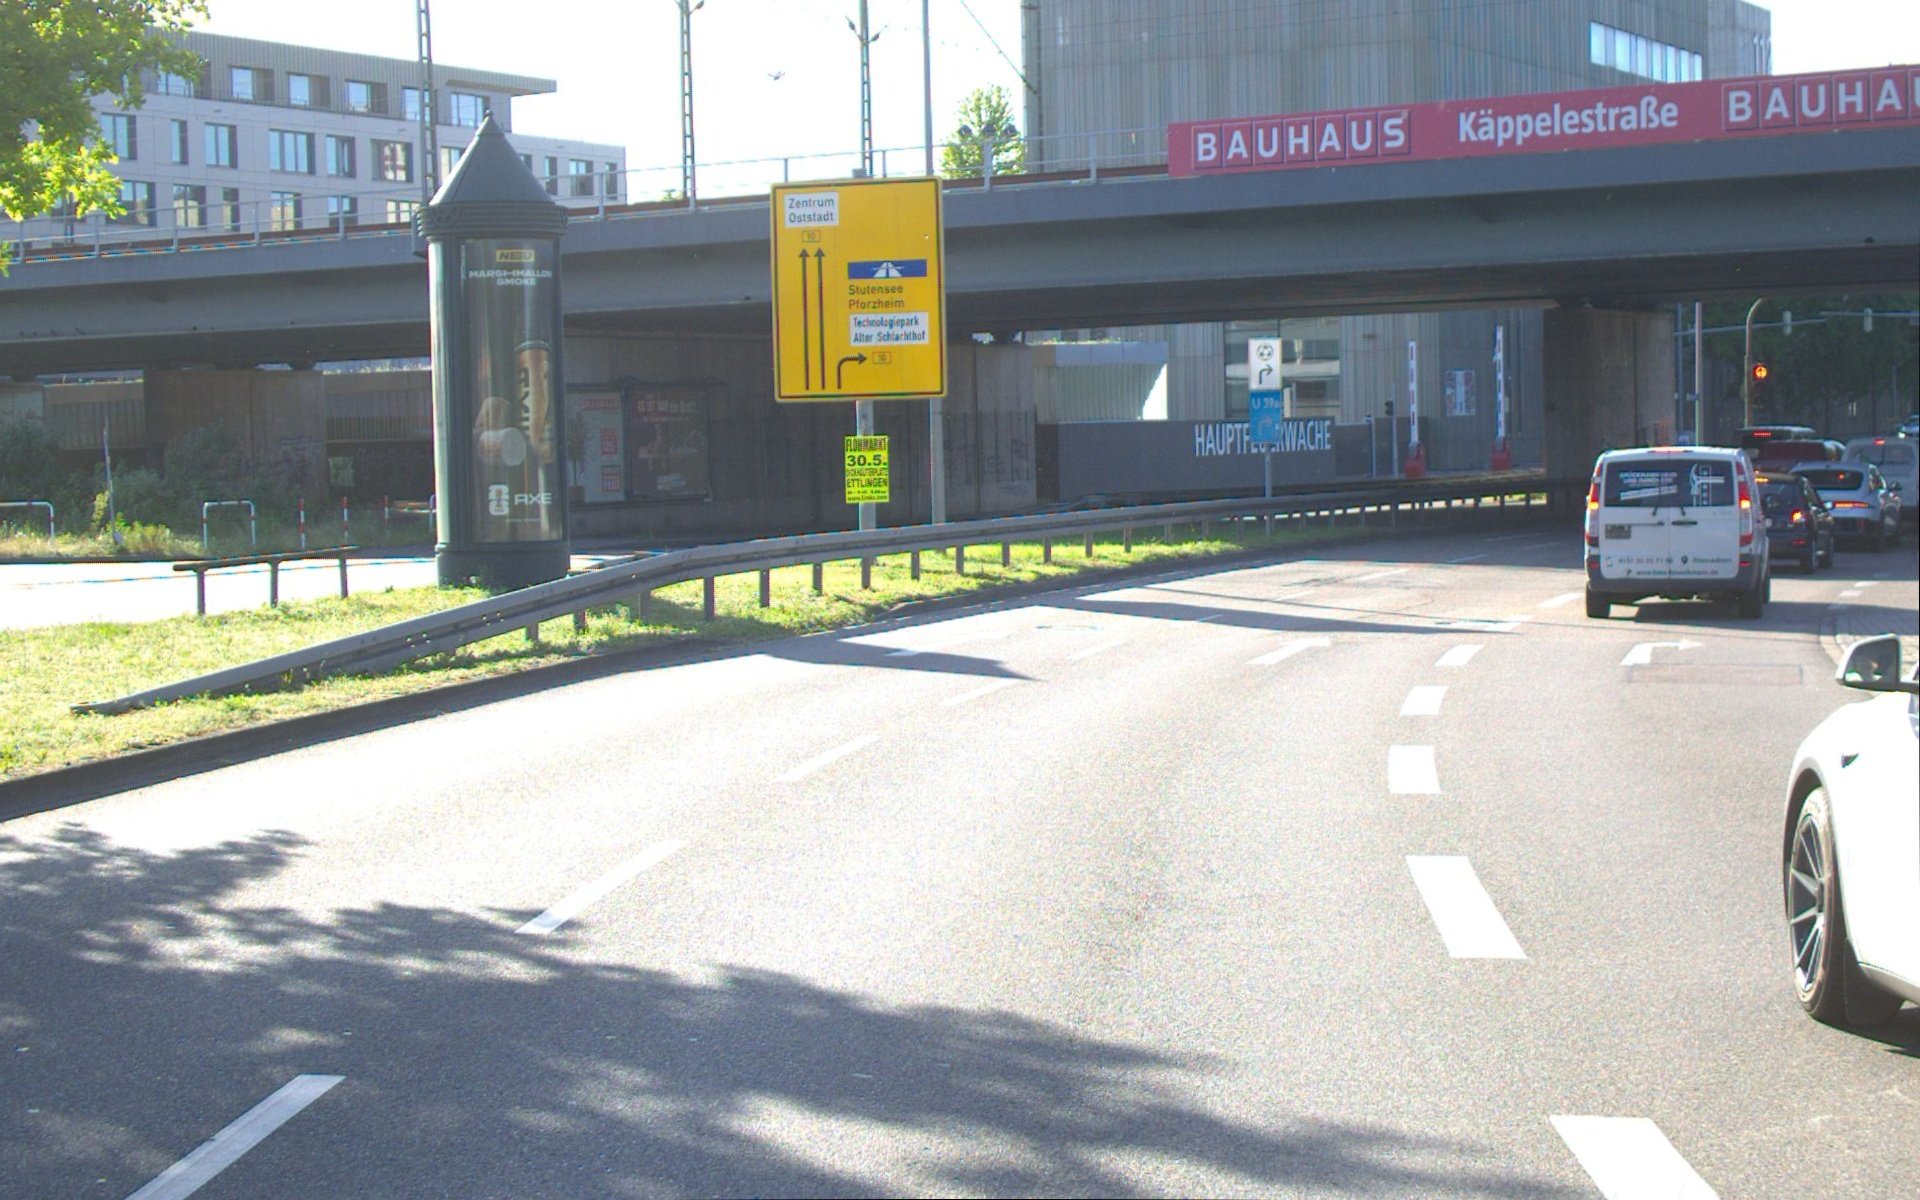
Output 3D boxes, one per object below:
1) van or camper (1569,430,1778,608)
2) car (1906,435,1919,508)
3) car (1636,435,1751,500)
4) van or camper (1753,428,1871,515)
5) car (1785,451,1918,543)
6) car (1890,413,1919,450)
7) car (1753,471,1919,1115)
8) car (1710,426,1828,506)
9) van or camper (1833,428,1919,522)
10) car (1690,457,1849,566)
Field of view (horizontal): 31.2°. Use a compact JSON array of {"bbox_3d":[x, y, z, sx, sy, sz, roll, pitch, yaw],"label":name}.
[{"bbox_3d":[8.179,-0.971,39.102,1.960,1.877,4.877,0,3,16],"label":"van or camper"},{"bbox_3d":[21.459,-2.776,73.402,1.710,1.517,3.738,1,3,27],"label":"car"},{"bbox_3d":[17.185,-3.111,80.435,1.710,1.447,3.738,1,3,27],"label":"car"},{"bbox_3d":[18.439,-2.784,74.266,1.756,1.807,3.954,1,3,25],"label":"van or camper"},{"bbox_3d":[15.200,-1.773,58.484,1.765,1.470,4.285,0,2,20],"label":"car"},{"bbox_3d":[42.936,-7.539,153.627,1.785,1.639,4.195,1,3,28],"label":"car"},{"bbox_3d":[3.408,0.517,8.566,1.914,1.635,4.410,2,1,2],"label":"car"},{"bbox_3d":[20.407,-3.393,86.590,1.869,1.940,4.590,1,3,27],"label":"car"},{"bbox_3d":[18.460,-2.489,67.596,1.828,1.784,4.540,1,3,23],"label":"van or camper"},{"bbox_3d":[11.776,-1.313,49.887,1.606,1.429,3.674,1,4,24],"label":"car"}]
